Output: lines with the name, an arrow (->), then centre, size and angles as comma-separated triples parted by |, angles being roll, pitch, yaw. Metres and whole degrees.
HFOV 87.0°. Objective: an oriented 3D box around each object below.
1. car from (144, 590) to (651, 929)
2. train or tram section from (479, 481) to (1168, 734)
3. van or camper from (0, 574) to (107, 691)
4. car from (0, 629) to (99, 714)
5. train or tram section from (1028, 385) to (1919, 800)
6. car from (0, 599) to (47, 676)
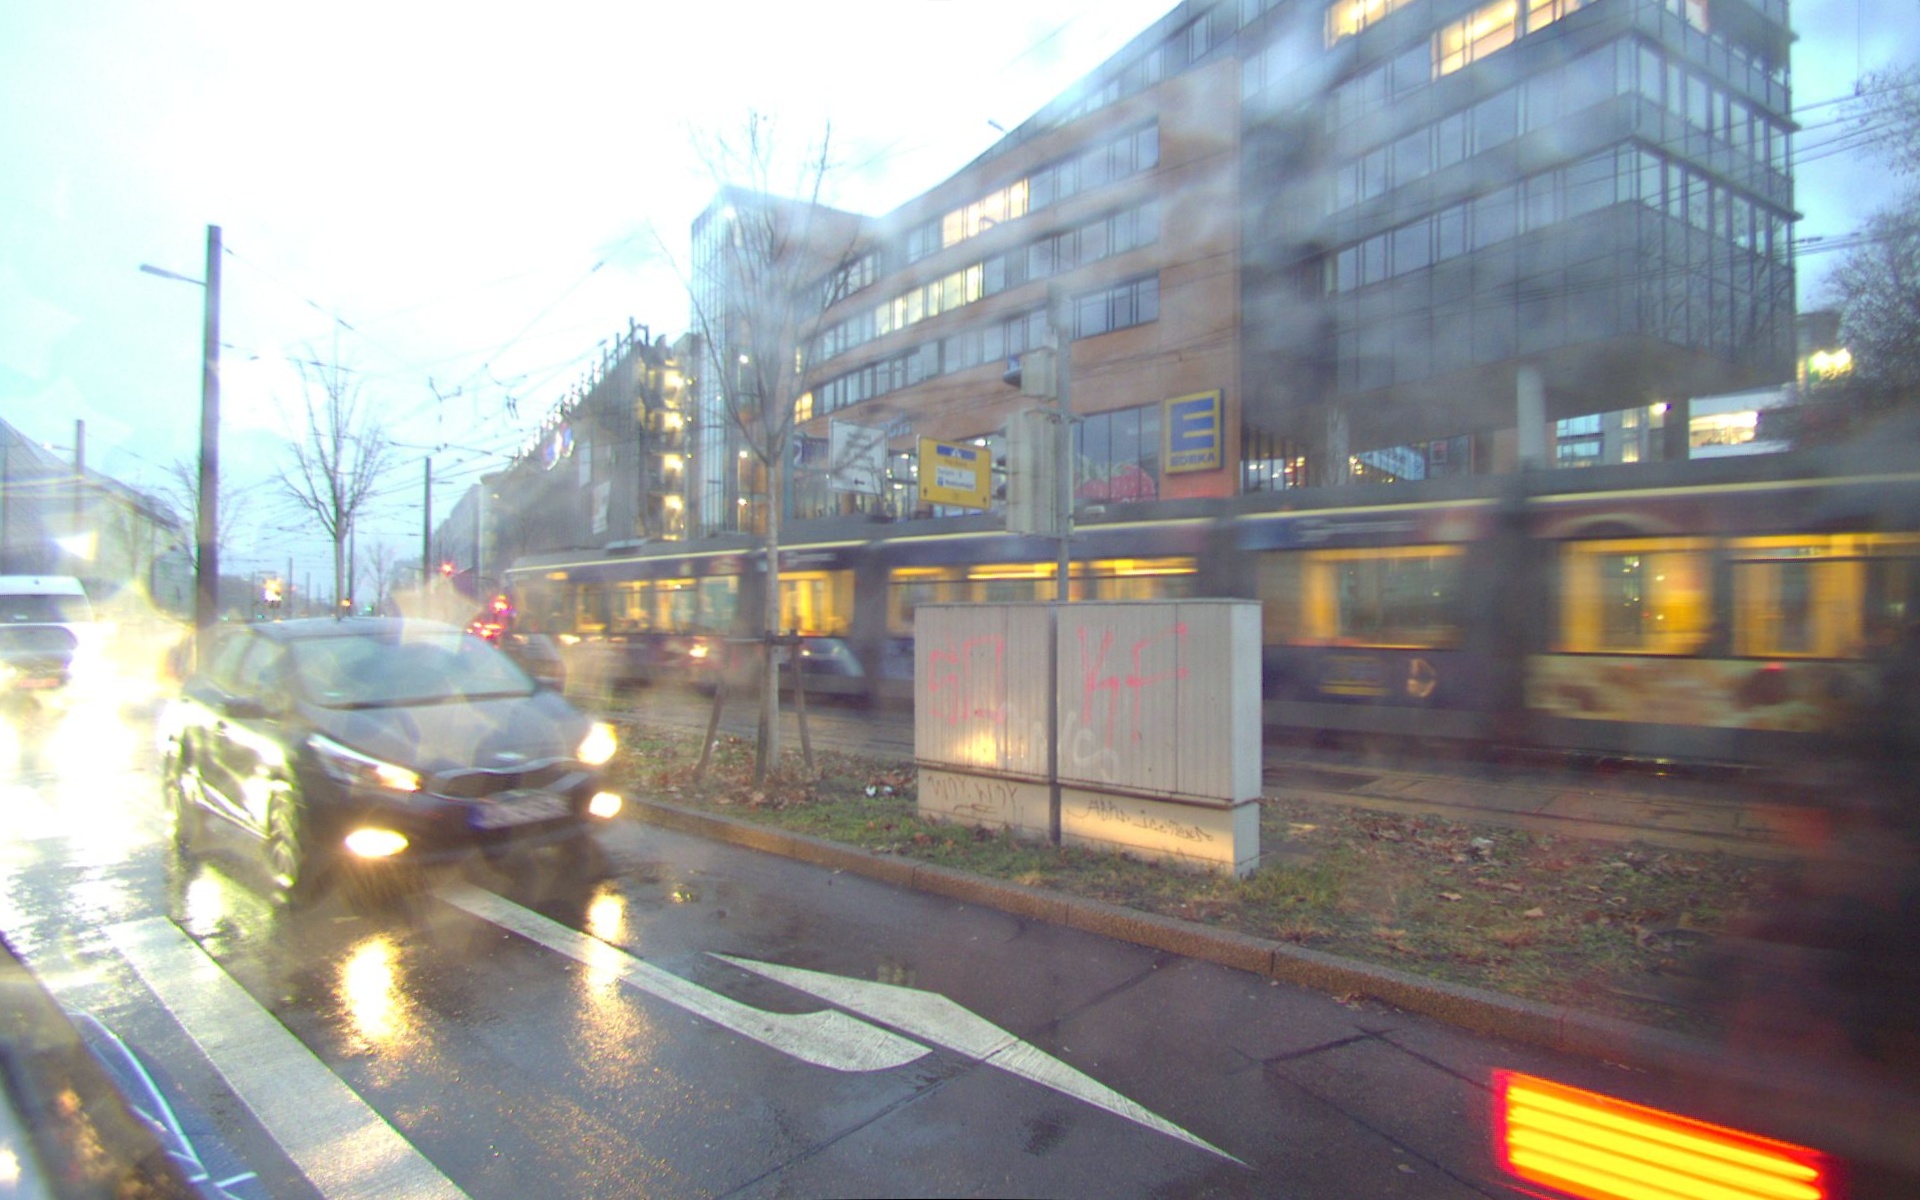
car -> -3.794, 0.746, 6.511 | 3.940, 1.535, 1.613 | -1, 0, 41
train or tram section -> -4.932, 0.296, 22.346 | 20.066, 3.642, 2.834 | -1, -2, 42
van or camper -> -22.701, 0.762, 24.527 | 5.894, 2.551, 2.126 | -1, -2, 40
car -> -17.722, 1.287, 19.152 | 4.057, 1.355, 1.735 | 0, -1, 44
train or tram section -> 9.279, -0.037, 9.999 | 19.195, 3.642, 2.836 | -1, -2, 40
car -> -37.740, 1.439, 39.650 | 5.808, 2.885, 2.103 | -1, -2, 40
